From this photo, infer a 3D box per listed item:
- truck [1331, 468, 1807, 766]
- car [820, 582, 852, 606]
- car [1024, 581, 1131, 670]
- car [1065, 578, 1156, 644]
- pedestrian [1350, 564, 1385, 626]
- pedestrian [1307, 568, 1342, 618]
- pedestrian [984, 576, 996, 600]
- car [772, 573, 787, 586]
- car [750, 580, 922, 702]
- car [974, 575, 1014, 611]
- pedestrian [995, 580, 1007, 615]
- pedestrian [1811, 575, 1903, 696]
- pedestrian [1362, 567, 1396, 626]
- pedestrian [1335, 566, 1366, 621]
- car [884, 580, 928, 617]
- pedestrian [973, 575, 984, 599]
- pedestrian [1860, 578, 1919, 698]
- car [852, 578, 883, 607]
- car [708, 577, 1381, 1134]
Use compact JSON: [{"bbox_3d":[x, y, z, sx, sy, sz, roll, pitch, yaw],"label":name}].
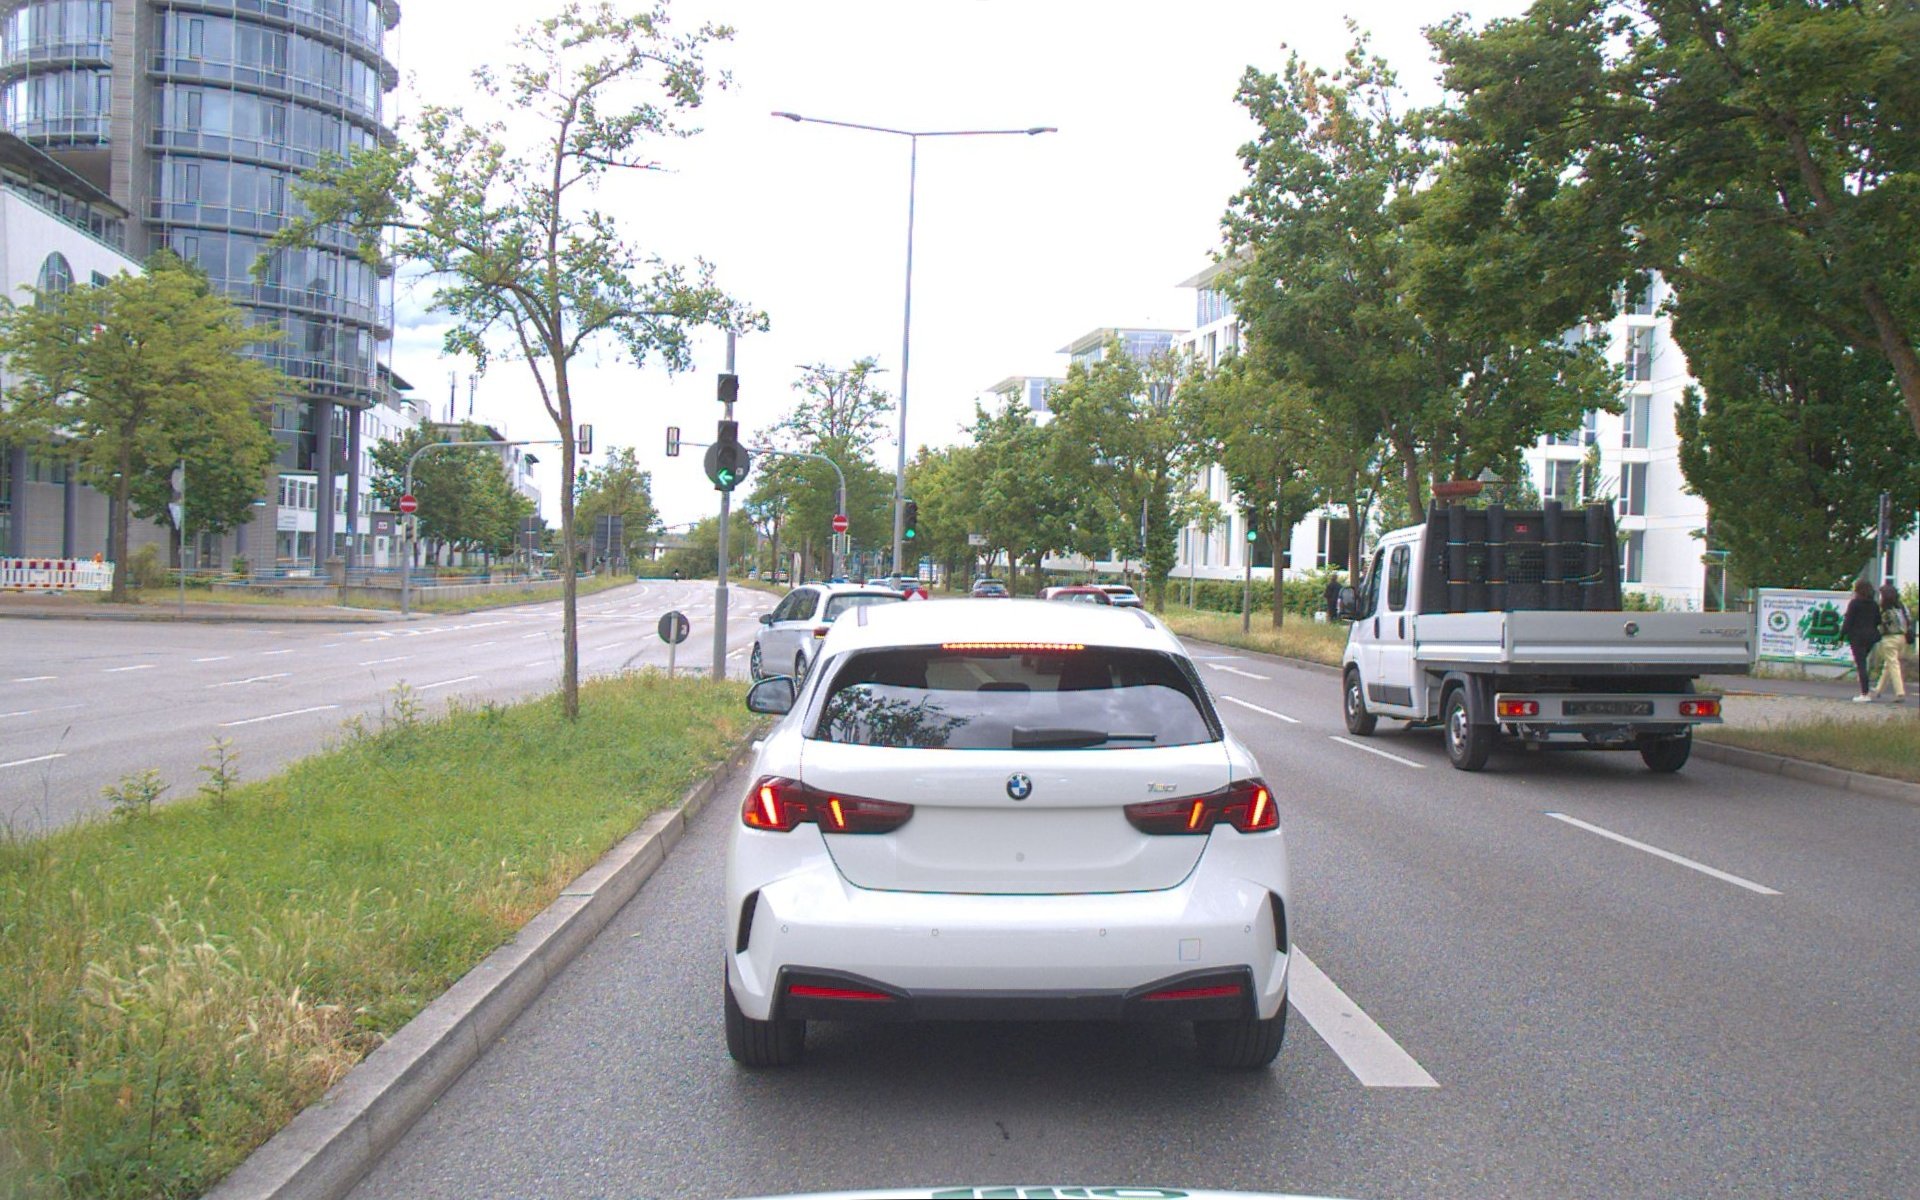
[{"bbox_3d":[5.346,0.111,15.642,2.167,2.242,5.842,1,0,-2],"label":"truck"},{"bbox_3d":[-8.776,-0.419,116.776,1.856,1.623,4.305,1,0,-8],"label":"car"},{"bbox_3d":[2.172,0.452,31.451,1.681,1.585,3.857,0,0,-1],"label":"car"},{"bbox_3d":[3.801,0.258,42.374,1.682,1.583,4.086,1,0,-4],"label":"car"},{"bbox_3d":[10.790,-0.130,43.793,0.726,1.601,0.674,1,-1,-2],"label":"pedestrian"},{"bbox_3d":[10.878,-0.202,49.407,0.773,1.473,1.111,1,0,-2],"label":"pedestrian"},{"bbox_3d":[2.515,-1.009,139.388,0.835,2.049,0.603,1,0,-16],"label":"pedestrian"},{"bbox_3d":[-25.279,-2.892,231.650,1.957,1.699,3.991,0,0,-10],"label":"car"},{"bbox_3d":[-1.877,0.529,23.937,1.526,1.596,3.979,1,0,-19],"label":"car"},{"bbox_3d":[1.570,-0.315,77.822,1.624,1.539,3.997,1,-1,-3],"label":"car"},{"bbox_3d":[3.228,-0.199,129.696,0.814,2.673,0.646,1,0,-1],"label":"pedestrian"},{"bbox_3d":[12.966,0.504,23.940,0.779,1.689,1.060,1,0,5],"label":"pedestrian"},{"bbox_3d":[12.491,-0.105,49.291,0.751,1.715,0.883,1,-1,-2],"label":"pedestrian"},{"bbox_3d":[11.611,-0.190,49.217,0.685,1.623,0.883,1,0,-2],"label":"pedestrian"},{"bbox_3d":[-2.536,-0.084,76.582,1.818,1.624,4.309,0,0,-5],"label":"car"},{"bbox_3d":[1.565,-1.084,141.184,0.749,2.049,0.751,1,-1,-16],"label":"pedestrian"},{"bbox_3d":[13.700,0.544,24.004,0.762,1.689,0.952,1,0,5],"label":"pedestrian"},{"bbox_3d":[-5.085,-0.421,90.533,1.574,1.494,3.671,1,0,-5],"label":"car"},{"bbox_3d":[0.206,0.684,6.465,1.785,1.463,3.999,1,0,-1],"label":"car"}]
